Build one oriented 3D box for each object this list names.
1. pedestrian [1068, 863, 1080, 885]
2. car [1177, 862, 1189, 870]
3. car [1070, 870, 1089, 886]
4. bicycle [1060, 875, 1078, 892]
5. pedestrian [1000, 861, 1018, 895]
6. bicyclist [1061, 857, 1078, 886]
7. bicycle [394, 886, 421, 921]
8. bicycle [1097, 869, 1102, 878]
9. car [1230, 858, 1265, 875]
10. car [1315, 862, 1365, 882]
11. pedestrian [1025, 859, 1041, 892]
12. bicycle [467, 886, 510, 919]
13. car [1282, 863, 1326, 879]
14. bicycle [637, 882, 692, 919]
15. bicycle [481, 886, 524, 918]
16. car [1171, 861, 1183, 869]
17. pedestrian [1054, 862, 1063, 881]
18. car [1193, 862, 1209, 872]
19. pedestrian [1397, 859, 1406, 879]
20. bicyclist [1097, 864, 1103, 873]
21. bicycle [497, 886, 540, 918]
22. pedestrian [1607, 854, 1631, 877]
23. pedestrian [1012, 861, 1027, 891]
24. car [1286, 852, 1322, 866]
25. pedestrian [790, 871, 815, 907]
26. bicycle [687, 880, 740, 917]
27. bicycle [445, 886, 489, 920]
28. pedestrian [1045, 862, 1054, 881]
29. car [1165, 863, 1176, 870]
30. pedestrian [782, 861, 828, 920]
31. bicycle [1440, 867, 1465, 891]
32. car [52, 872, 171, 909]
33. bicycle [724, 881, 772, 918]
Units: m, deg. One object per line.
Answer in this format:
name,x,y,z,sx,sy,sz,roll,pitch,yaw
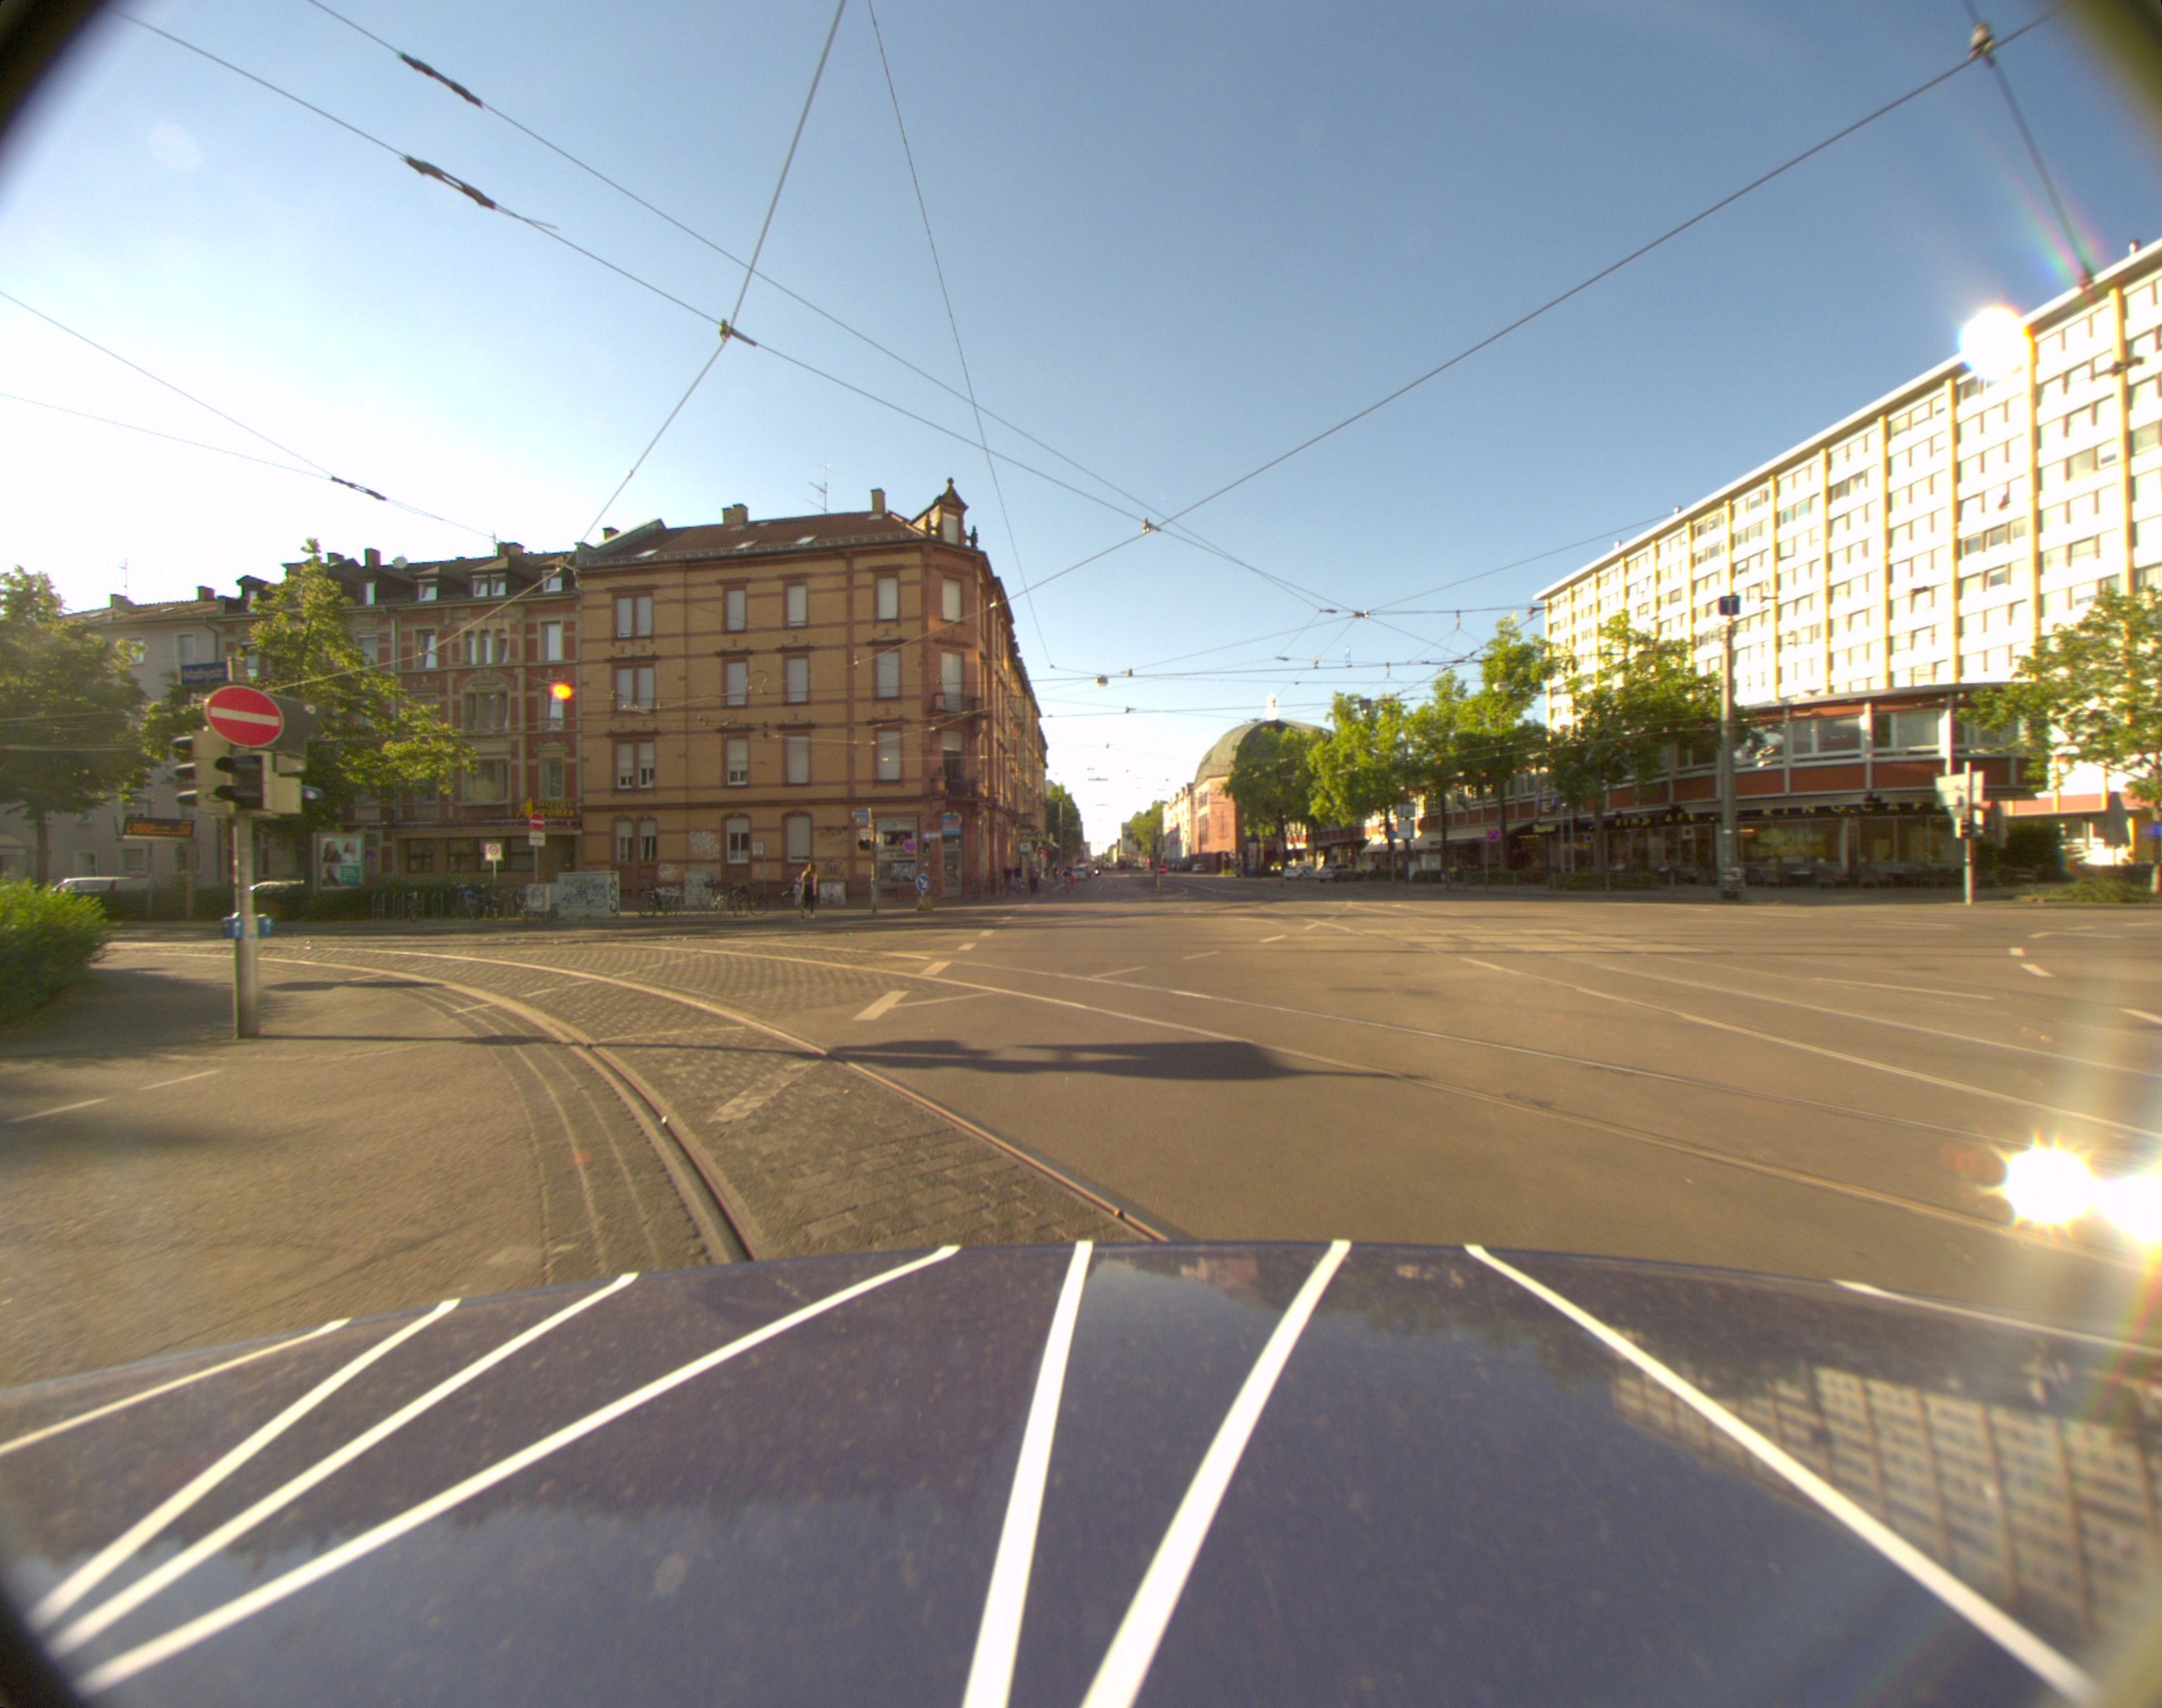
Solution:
pedestrian,-0.502,1.481,56.383,0.849,1.651,0.850,0,0,5
car,21.312,2.584,158.842,1.965,1.593,4.001,-1,-1,-1
car,-0.152,2.511,80.282,1.670,1.673,4.003,0,-2,4
bicycle,-0.676,1.706,44.195,0.885,0.949,1.767,0,-2,4
pedestrian,-3.691,1.235,39.199,0.777,1.712,0.754,2,-1,2
bicyclist,-0.659,1.032,44.216,0.885,1.650,0.804,0,-1,4
bicycle,-22.324,1.634,25.179,1.795,1.101,0.501,-1,-1,43
bicycle,2.442,2.554,100.064,0.646,1.175,1.805,0,-2,-1
car,20.506,1.535,93.725,4.007,1.952,1.907,0,-1,-33
car,21.874,1.517,64.202,4.006,1.544,1.794,0,-1,-30
pedestrian,-2.810,1.278,44.699,0.824,1.883,0.754,2,-1,2
bicycle,-20.701,1.685,26.547,1.795,1.101,0.501,-1,-1,28
car,22.027,1.650,75.021,4.006,1.466,1.794,0,-1,-30
bicycle,-14.836,1.626,27.127,0.755,1.255,1.969,0,-1,5
bicycle,-20.495,1.687,26.928,1.795,1.101,0.501,-1,-1,28
car,20.840,2.449,165.387,1.965,1.593,4.001,-1,-1,-1
pedestrian,-2.094,1.629,70.774,0.700,1.712,0.503,2,-1,3
car,20.799,2.264,131.795,1.910,1.593,4.001,-1,-1,-1
pedestrian,27.507,1.294,65.195,0.635,1.758,0.769,0,0,17
bicyclist,2.506,1.947,100.021,0.646,1.175,0.723,0,-1,-1
bicycle,-20.284,1.702,27.394,1.795,1.101,0.501,-1,-1,28
pedestrian,29.976,0.658,42.323,0.838,1.255,0.908,0,-1,17
pedestrian,-3.634,1.313,45.167,0.777,1.712,0.754,2,-1,2
car,34.243,0.756,116.733,4.983,2.001,2.000,0,-1,-1
pedestrian,-12.698,1.578,34.639,0.743,1.562,0.763,-1,3,8
bicycle,-13.103,1.582,27.164,0.755,1.255,1.969,0,-1,5
bicycle,-21.049,1.659,26.031,1.795,1.101,0.501,-1,-1,28
pedestrian,-2.920,1.631,71.076,0.700,1.712,0.681,2,-1,3
car,21.673,3.094,184.249,1.965,1.593,4.001,-1,-1,-1
pedestrian,-8.532,1.120,23.495,1.026,1.796,1.083,0,-1,-2
bicycle,19.576,1.309,40.032,0.582,1.227,1.858,-1,-2,7
car,-48.808,1.845,38.293,3.976,1.807,1.979,0,-3,10
bicycle,-11.735,1.584,26.833,0.755,1.255,1.836,0,-1,5
